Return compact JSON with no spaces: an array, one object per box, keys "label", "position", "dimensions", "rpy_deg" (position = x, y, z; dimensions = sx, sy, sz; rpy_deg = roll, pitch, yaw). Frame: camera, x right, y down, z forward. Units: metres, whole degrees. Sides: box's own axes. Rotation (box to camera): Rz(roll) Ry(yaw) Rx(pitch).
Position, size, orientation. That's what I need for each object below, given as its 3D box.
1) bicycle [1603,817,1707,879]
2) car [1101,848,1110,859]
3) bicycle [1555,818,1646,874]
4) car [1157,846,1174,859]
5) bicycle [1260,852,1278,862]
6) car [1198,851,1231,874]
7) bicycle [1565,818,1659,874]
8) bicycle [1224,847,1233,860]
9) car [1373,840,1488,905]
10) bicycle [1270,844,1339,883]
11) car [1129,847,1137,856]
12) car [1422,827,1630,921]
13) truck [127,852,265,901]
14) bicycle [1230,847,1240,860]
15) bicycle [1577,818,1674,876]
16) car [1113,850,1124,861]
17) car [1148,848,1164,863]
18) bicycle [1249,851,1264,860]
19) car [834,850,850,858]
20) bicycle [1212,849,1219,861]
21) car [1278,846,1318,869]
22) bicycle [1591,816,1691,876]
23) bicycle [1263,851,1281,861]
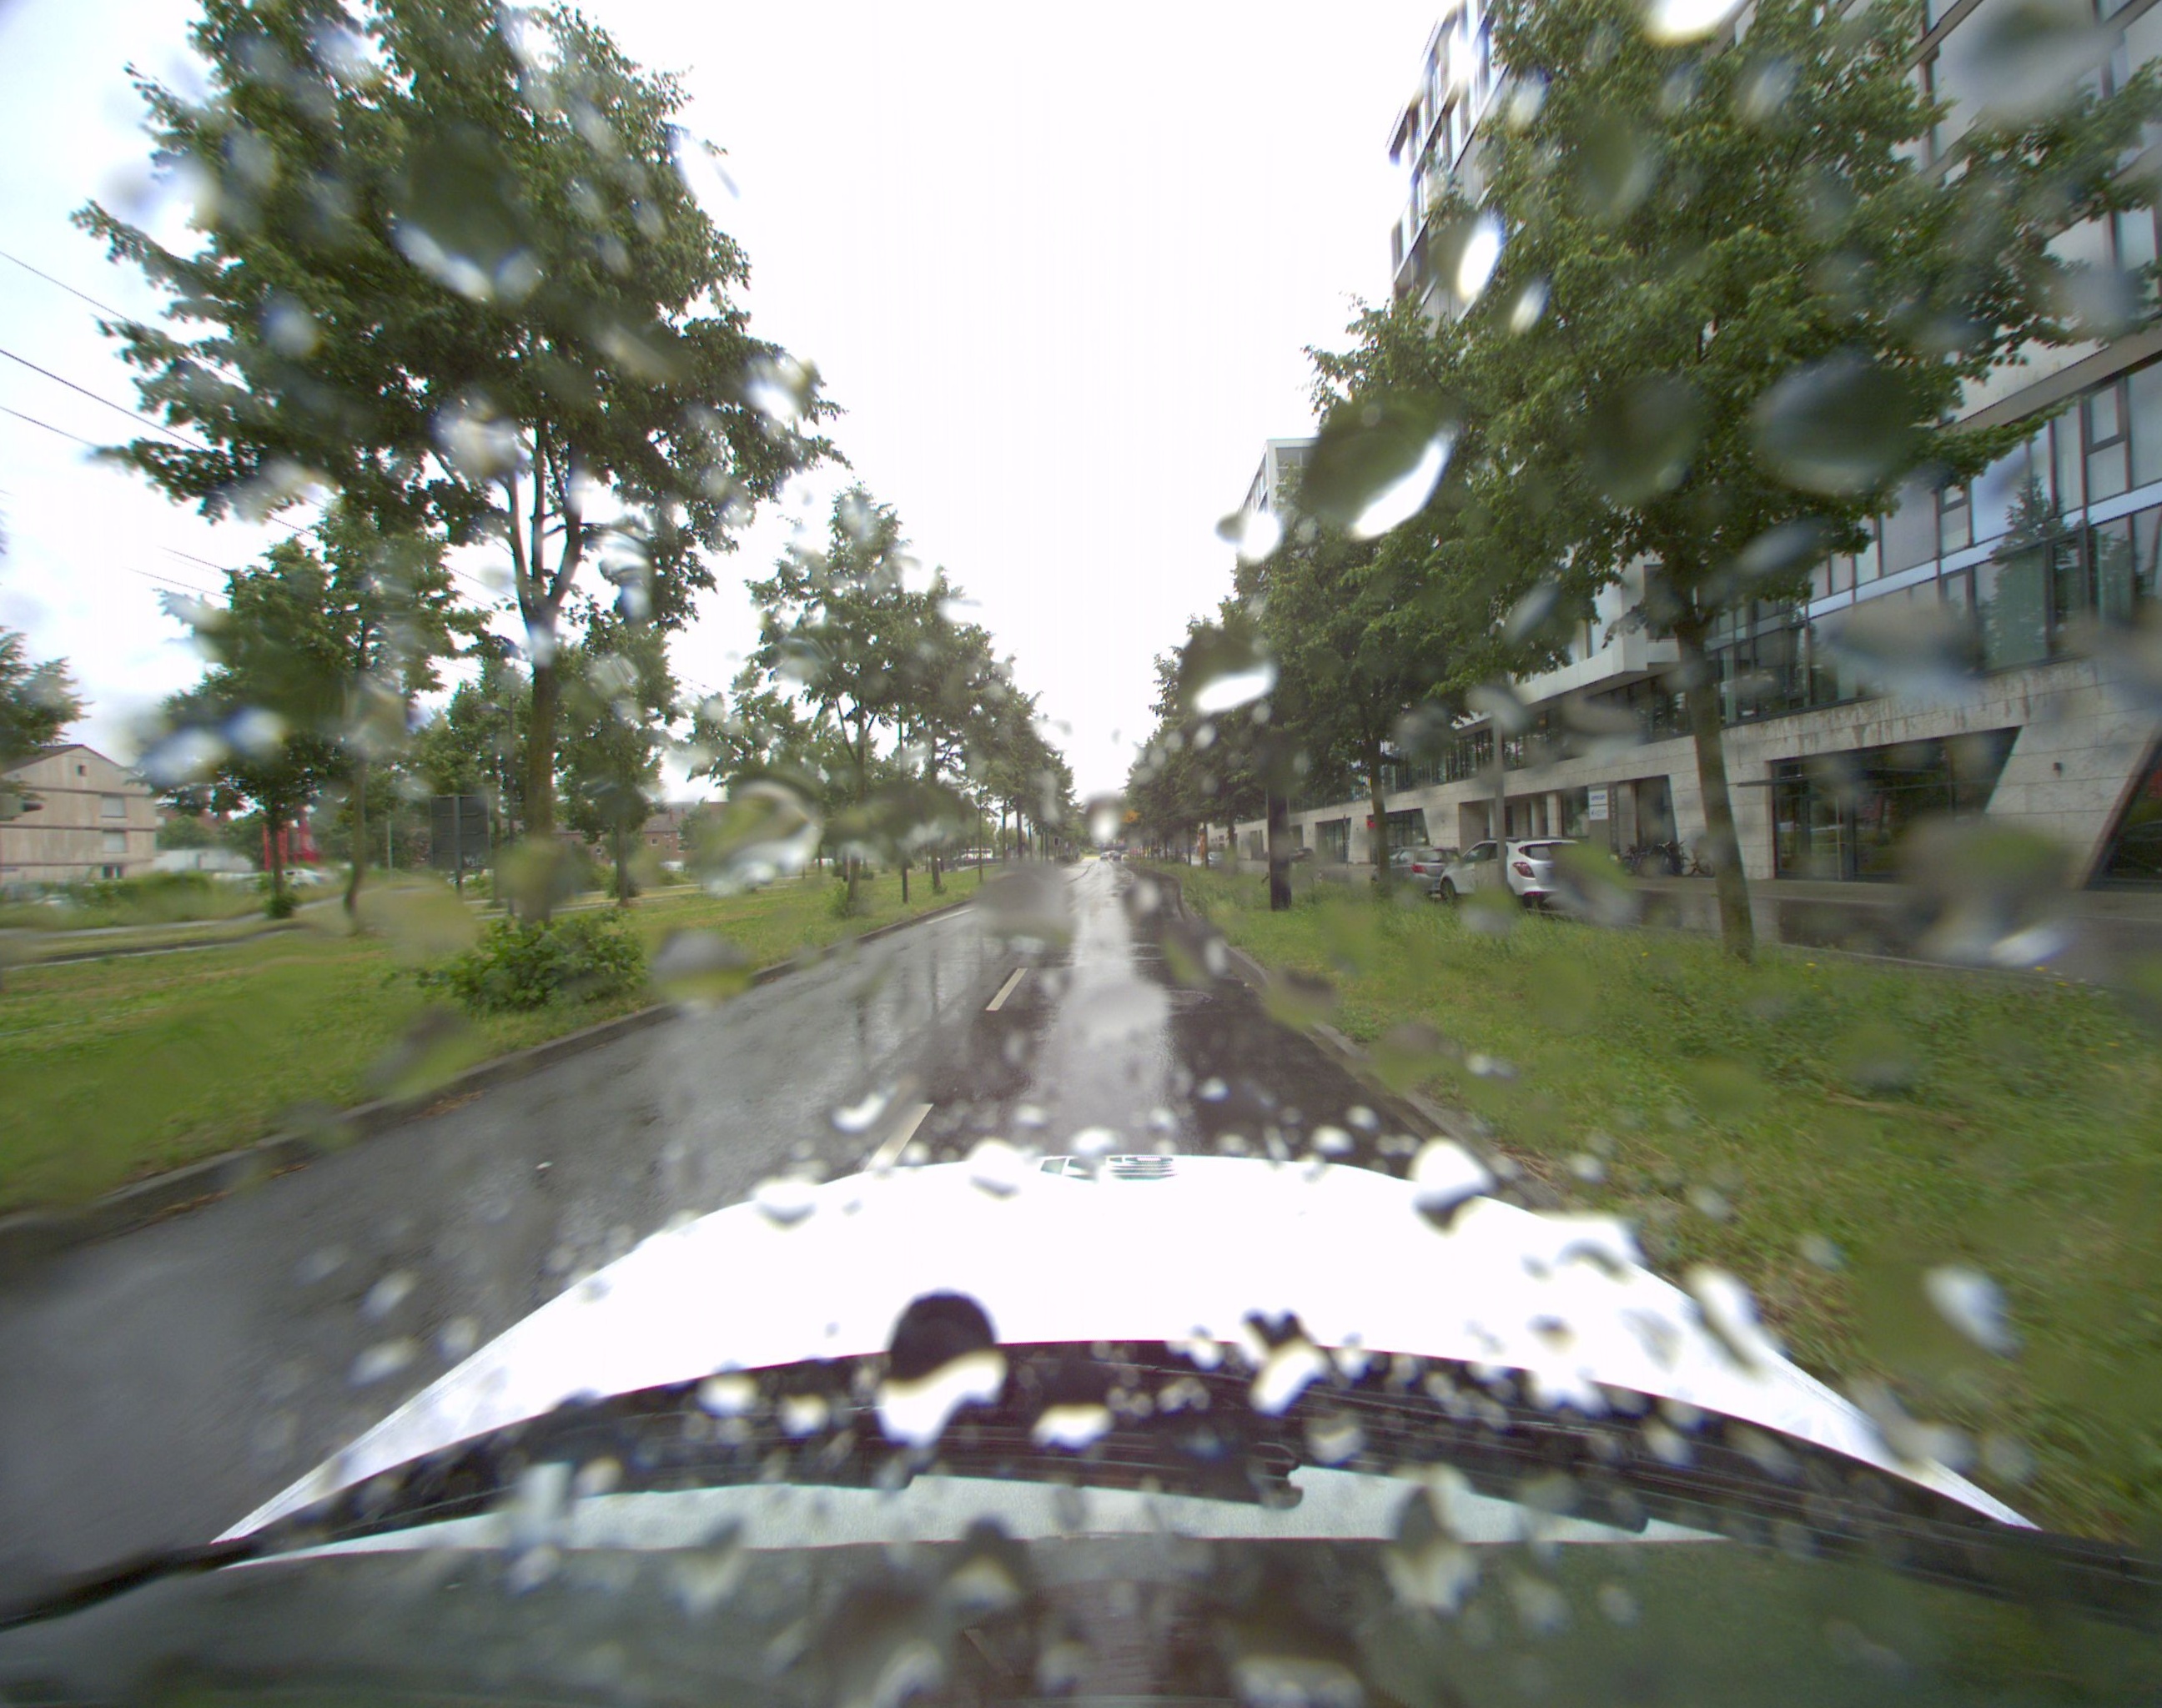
[{"label":"bicycle","position":[18.297,-0.176,25.987],"dimensions":[2.666,1.860,0.708],"rpy_deg":[-2,0,6]},{"label":"car","position":[5.285,-0.132,174.861],"dimensions":[1.881,2.013,4.003],"rpy_deg":[-2,2,2]},{"label":"bicycle","position":[18.534,-0.278,29.070],"dimensions":[2.666,1.860,0.708],"rpy_deg":[-2,0,6]},{"label":"car","position":[11.625,-0.212,112.462],"dimensions":[1.899,1.791,4.689],"rpy_deg":[-2,0,1]},{"label":"bicycle","position":[20.457,0.279,88.626],"dimensions":[1.799,1.028,0.541],"rpy_deg":[-2,-1,3]},{"label":"car","position":[10.339,0.596,63.314],"dimensions":[1.874,1.505,4.726],"rpy_deg":[-2,2,2]},{"label":"bicycle","position":[18.443,-0.275,28.326],"dimensions":[2.666,1.860,0.708],"rpy_deg":[-2,0,6]},{"label":"bicycle","position":[20.487,-0.069,112.908],"dimensions":[0.642,1.722,3.121],"rpy_deg":[-2,2,1]},{"label":"car","position":[9.335,0.440,22.059],"dimensions":[1.619,1.490,3.658],"rpy_deg":[-2,2,2]},{"label":"bicycle","position":[7.119,0.301,25.929],"dimensions":[2.028,1.196,0.491],"rpy_deg":[-2,-1,1]},{"label":"car","position":[13.257,-0.722,206.750],"dimensions":[1.985,2.013,4.004],"rpy_deg":[-2,2,3]},{"label":"car","position":[9.284,0.289,17.532],"dimensions":[1.986,1.669,4.726],"rpy_deg":[-2,2,1]},{"label":"truck","position":[-112.909,2.664,104.505],"dimensions":[6.201,5.395,13.227],"rpy_deg":[-3,2,-19]},{"label":"bicycle","position":[21.257,-0.069,112.284],"dimensions":[0.769,1.722,3.121],"rpy_deg":[-2,2,1]},{"label":"bicycle","position":[18.396,-0.228,27.535],"dimensions":[2.666,1.860,0.708],"rpy_deg":[-2,0,6]},{"label":"car","position":[7.117,0.287,154.525],"dimensions":[1.933,2.013,4.003],"rpy_deg":[-2,2,2]},{"label":"car","position":[12.056,0.290,130.992],"dimensions":[2.113,2.274,4.565],"rpy_deg":[-2,0,1]},{"label":"bicycle","position":[20.543,0.184,95.204],"dimensions":[1.686,1.028,0.423],"rpy_deg":[-2,-1,3]},{"label":"car","position":[-57.802,0.013,196.865],"dimensions":[3.546,1.738,1.693],"rpy_deg":[-3,2,-23]},{"label":"bicycle","position":[20.284,0.104,122.904],"dimensions":[0.642,1.722,3.121],"rpy_deg":[-2,2,1]},{"label":"car","position":[17.123,0.235,64.429],"dimensions":[1.985,1.501,5.039],"rpy_deg":[-6,1,3]},{"label":"bicycle","position":[18.358,-0.253,26.753],"dimensions":[2.666,1.860,0.708],"rpy_deg":[-2,0,6]},{"label":"bicycle","position":[20.601,0.227,87.949],"dimensions":[1.799,1.028,0.402],"rpy_deg":[-2,-1,3]}]
